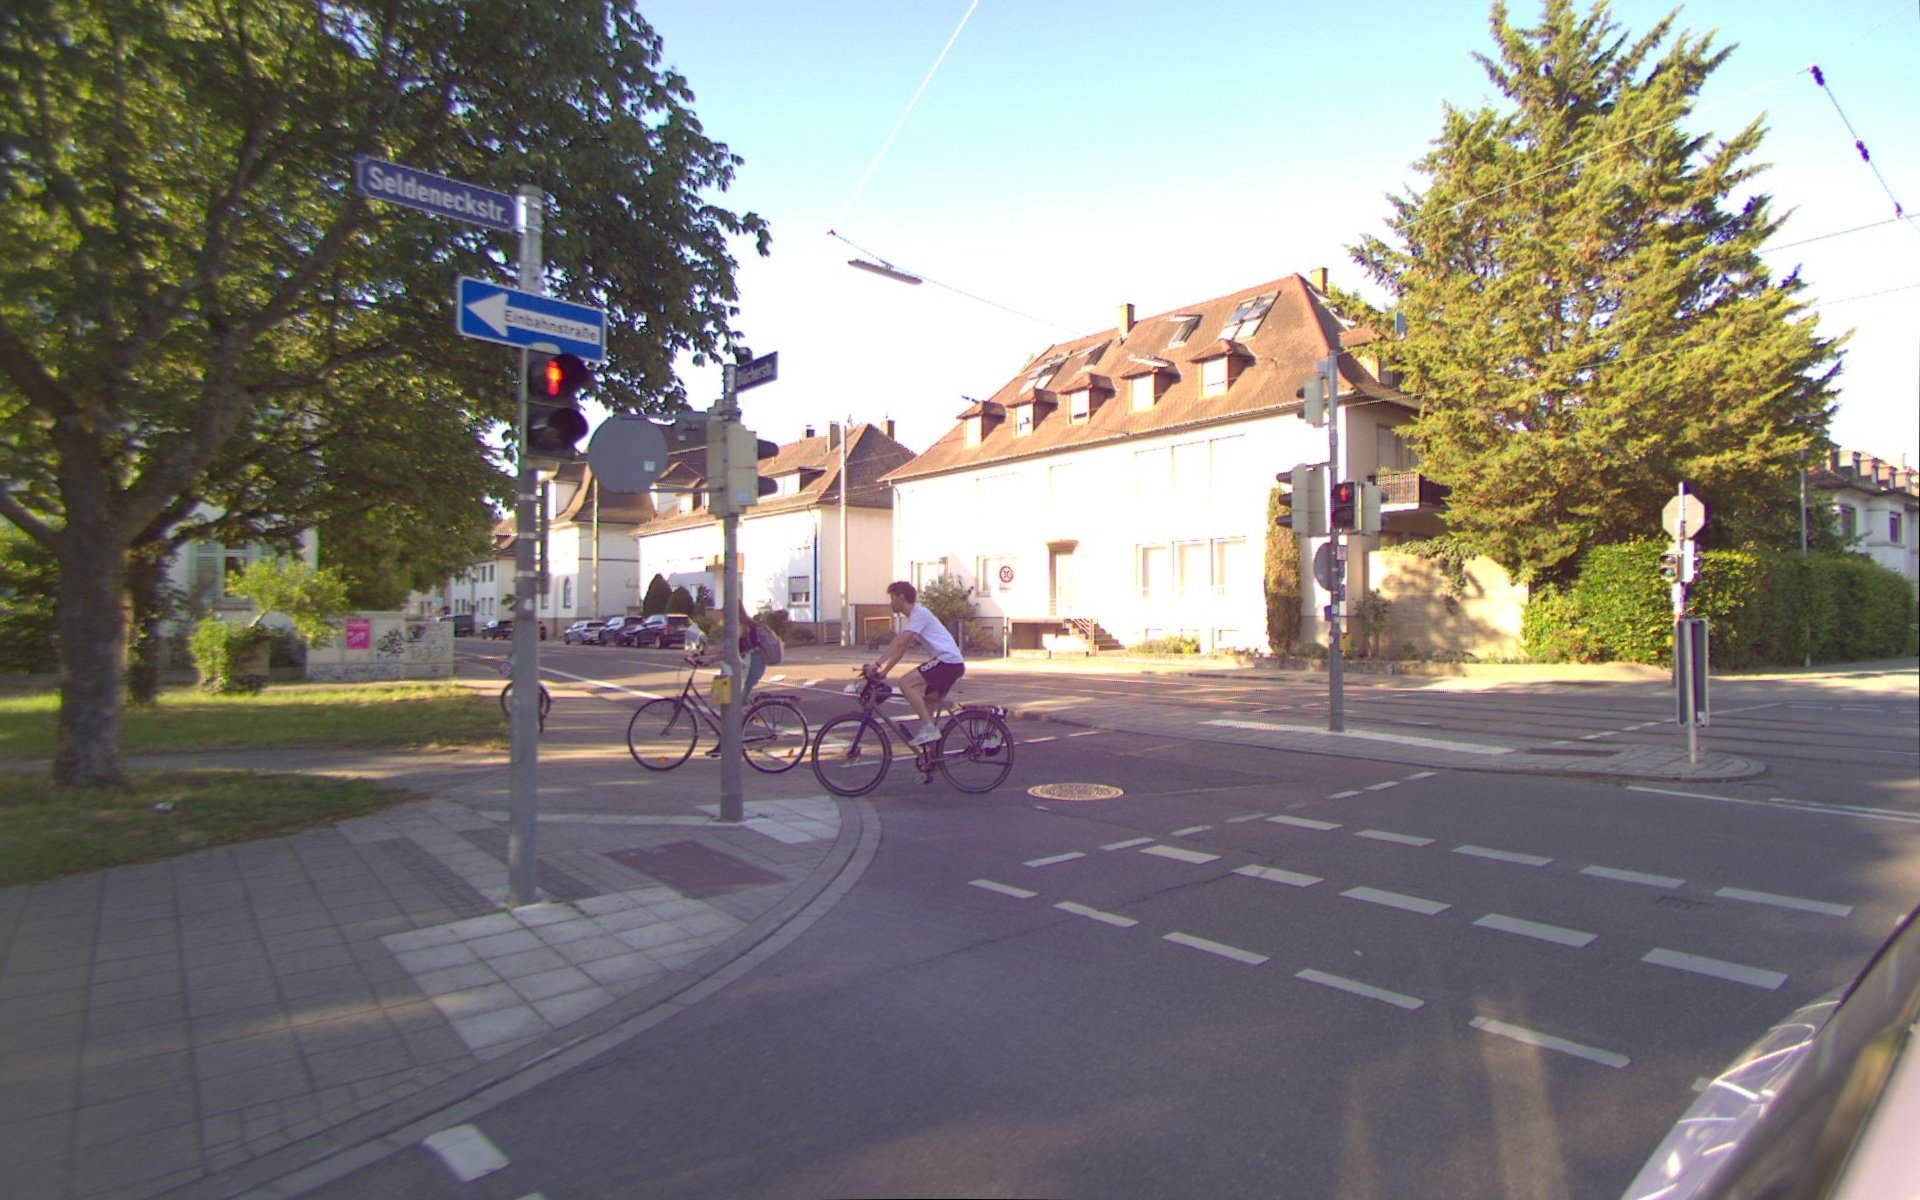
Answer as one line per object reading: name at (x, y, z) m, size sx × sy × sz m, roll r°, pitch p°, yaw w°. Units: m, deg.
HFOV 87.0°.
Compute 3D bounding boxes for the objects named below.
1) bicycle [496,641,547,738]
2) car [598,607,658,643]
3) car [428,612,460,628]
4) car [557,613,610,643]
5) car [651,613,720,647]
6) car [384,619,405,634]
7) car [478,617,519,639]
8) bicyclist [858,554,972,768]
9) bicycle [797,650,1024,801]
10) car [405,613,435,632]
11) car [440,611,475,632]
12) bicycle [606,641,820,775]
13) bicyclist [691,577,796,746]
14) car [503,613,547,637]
bicycle at (-5.580, 1.096, 12.846) m, size 0.458 × 1.103 × 1.529 m, roll 1°, pitch -1°, yaw -28°
car at (-18.794, 1.403, 57.273) m, size 1.963 × 1.906 × 3.997 m, roll 2°, pitch -1°, yaw -38°
car at (-47.918, 1.843, 93.945) m, size 1.963 × 1.460 × 3.996 m, roll 1°, pitch -1°, yaw -38°
car at (-23.239, 1.718, 62.407) m, size 1.963 × 1.792 × 3.996 m, roll 1°, pitch -2°, yaw -38°
car at (-13.779, 1.456, 50.653) m, size 1.963 × 1.616 × 3.996 m, roll 1°, pitch -1°, yaw -38°
car at (-60.722, 2.827, 108.682) m, size 1.455 × 1.467 × 3.436 m, roll 0°, pitch -3°, yaw -38°
car at (-35.289, 2.131, 77.288) m, size 1.963 × 1.483 × 3.995 m, roll 0°, pitch -3°, yaw -38°
bicyclist at (-0.418, 0.512, 8.850) m, size 0.875 × 1.755 × 0.818 m, roll -1°, pitch -3°, yaw -8°
bicycle at (-0.437, 1.056, 8.758) m, size 1.867 × 1.199 × 0.574 m, roll -1°, pitch -3°, yaw -5°
car at (-54.634, 2.254, 102.345) m, size 1.963 × 1.750 × 3.995 m, roll 0°, pitch -3°, yaw -38°
car at (-44.458, 1.879, 89.507) m, size 1.963 × 1.795 × 3.996 m, roll 1°, pitch -2°, yaw -38°
bicycle at (-2.400, 1.045, 9.949) m, size 1.926 × 1.199 × 0.492 m, roll 3°, pitch -2°, yaw -1°
bicyclist at (-2.119, 0.598, 9.996) m, size 0.876 × 1.583 × 0.714 m, roll -2°, pitch -3°, yaw -2°
car at (-31.263, 1.805, 72.709) m, size 1.964 × 1.648 × 3.996 m, roll 0°, pitch -2°, yaw -38°
